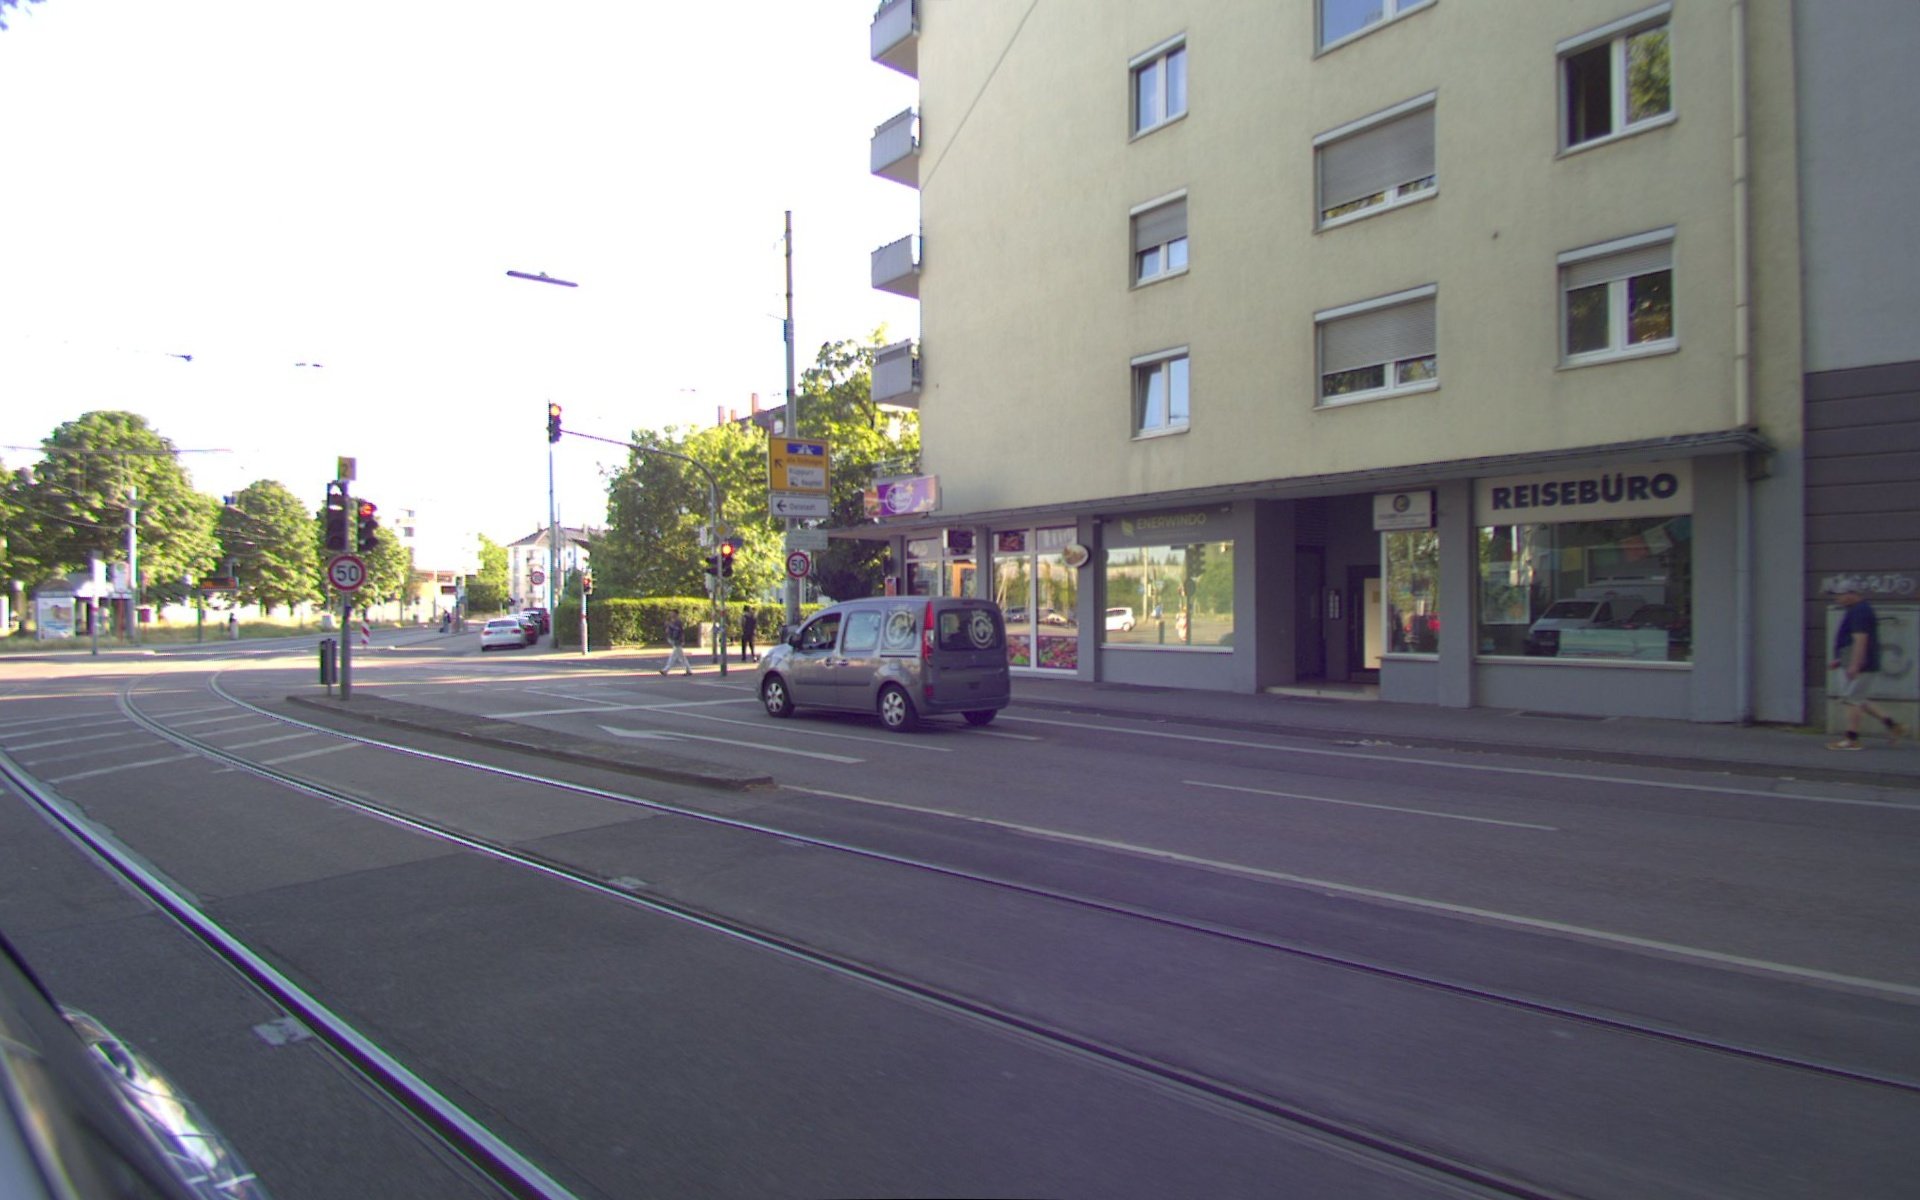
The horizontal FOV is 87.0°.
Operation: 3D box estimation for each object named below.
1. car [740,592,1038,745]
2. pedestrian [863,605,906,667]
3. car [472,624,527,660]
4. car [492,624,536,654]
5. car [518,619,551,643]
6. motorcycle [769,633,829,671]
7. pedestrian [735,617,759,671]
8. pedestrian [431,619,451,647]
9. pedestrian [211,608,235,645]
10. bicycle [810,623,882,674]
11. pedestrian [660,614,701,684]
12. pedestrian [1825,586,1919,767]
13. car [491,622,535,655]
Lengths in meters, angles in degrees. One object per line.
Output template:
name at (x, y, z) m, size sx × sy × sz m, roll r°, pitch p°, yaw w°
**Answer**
car at (-1.131, 0.903, 14.448) m, size 1.970 × 1.846 × 4.227 m, roll 3°, pitch -3°, yaw -45°
pedestrian at (-2.286, 1.082, 30.626) m, size 1.030 × 1.829 × 0.824 m, roll -1°, pitch -2°, yaw 41°
car at (-20.356, 1.833, 44.876) m, size 1.787 × 1.439 × 3.752 m, roll -2°, pitch -1°, yaw -18°
car at (-21.815, 1.898, 49.599) m, size 1.614 × 1.333 × 3.349 m, roll -2°, pitch -1°, yaw -18°
car at (-29.532, 2.164, 70.335) m, size 1.787 × 1.591 × 3.752 m, roll -2°, pitch -1°, yaw -18°
motorcycle at (-5.108, 1.630, 32.038) m, size 2.092 × 1.140 × 0.748 m, roll -1°, pitch -2°, yaw 42°
pedestrian at (-6.453, 1.320, 30.633) m, size 0.545 × 1.589 × 0.466 m, roll -1°, pitch 0°, yaw 41°
pedestrian at (-37.751, 2.400, 73.603) m, size 0.871 × 2.029 × 0.994 m, roll -1°, pitch -2°, yaw 20°
pedestrian at (-41.586, 1.484, 57.104) m, size 0.858 × 2.029 × 0.902 m, roll -1°, pitch -2°, yaw 36°
bicycle at (-3.669, 1.516, 32.355) m, size 2.516 × 1.555 × 0.834 m, roll -1°, pitch -2°, yaw 42°
pedestrian at (-6.915, 1.203, 25.035) m, size 0.742 × 1.693 × 0.795 m, roll 1°, pitch -2°, yaw -34°
pedestrian at (9.131, 0.722, 9.956) m, size 0.904 × 1.686 × 0.707 m, roll -1°, pitch 2°, yaw 42°
car at (-24.515, 2.096, 55.597) m, size 1.787 × 1.707 × 3.993 m, roll -2°, pitch -1°, yaw -18°
